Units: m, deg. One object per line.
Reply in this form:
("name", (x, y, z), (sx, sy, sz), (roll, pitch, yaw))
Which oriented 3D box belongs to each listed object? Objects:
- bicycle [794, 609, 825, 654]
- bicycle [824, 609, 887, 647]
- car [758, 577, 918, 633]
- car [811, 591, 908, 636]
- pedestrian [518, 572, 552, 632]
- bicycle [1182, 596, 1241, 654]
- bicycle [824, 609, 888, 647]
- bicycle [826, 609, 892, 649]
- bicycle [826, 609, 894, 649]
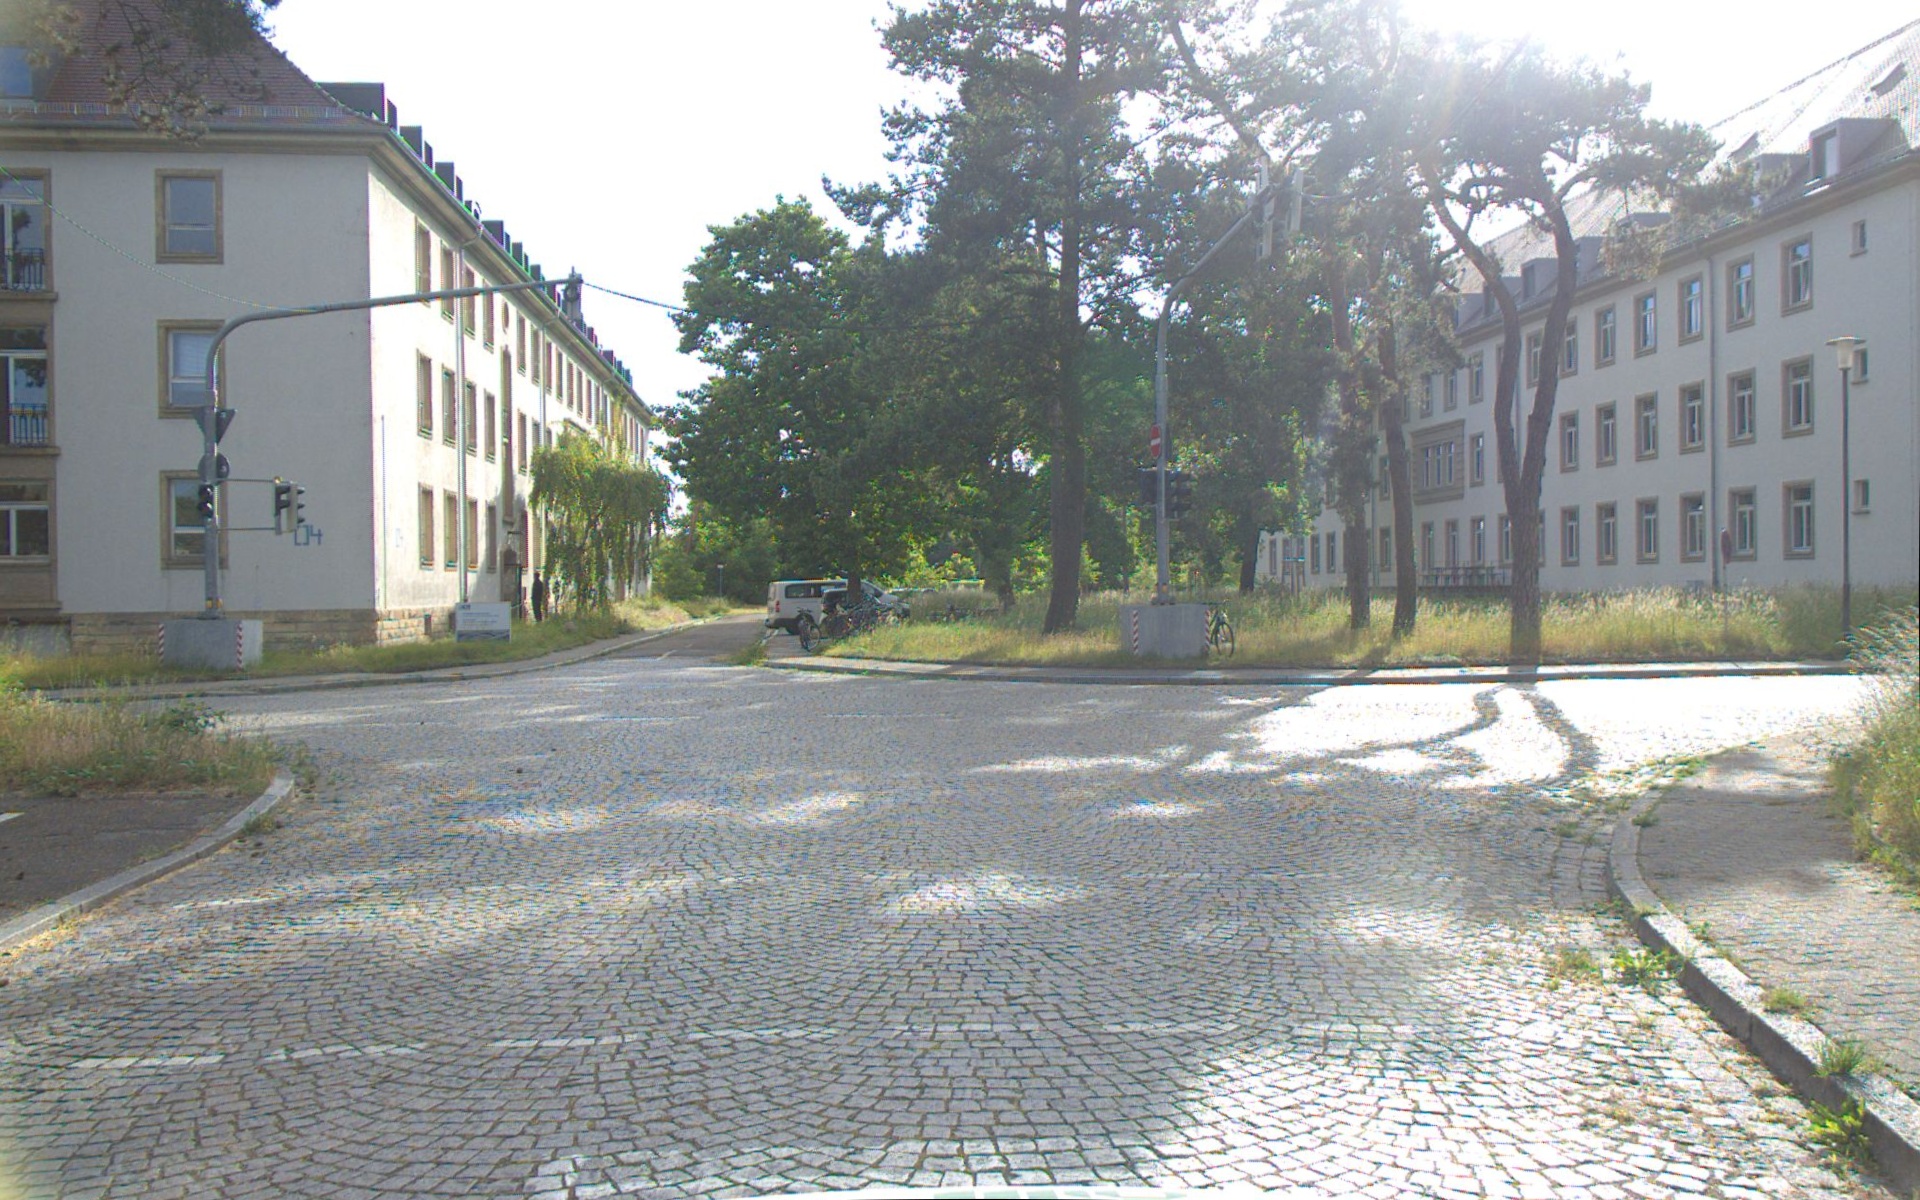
("bicycle", (-3.679, 0.758, 40.486), (0.714, 1.016, 1.797), (-1, 1, -5))
("bicycle", (-2.998, 0.796, 47.431), (1.758, 1.016, 0.643), (-1, 1, -7))
("car", (-4.439, 0.183, 60.015), (5.418, 1.949, 2.241), (0, -1, -20))
("car", (-3.456, 0.465, 56.531), (2.985, 1.491, 1.711), (0, -1, -18))
("pedestrian", (-14.244, 0.060, 55.437), (0.966, 1.998, 0.931), (0, -1, -6))
("bicycle", (4.649, 0.443, 30.695), (0.552, 1.016, 1.748), (-1, 1, -9))
("bicycle", (-2.937, 0.793, 46.695), (1.758, 1.016, 0.643), (-1, 1, -7))
("bicycle", (-2.765, 0.784, 45.206), (1.758, 1.016, 0.643), (-1, 1, -7))
("bicycle", (-2.670, 0.776, 44.191), (1.758, 1.016, 0.643), (-1, 1, -7))
